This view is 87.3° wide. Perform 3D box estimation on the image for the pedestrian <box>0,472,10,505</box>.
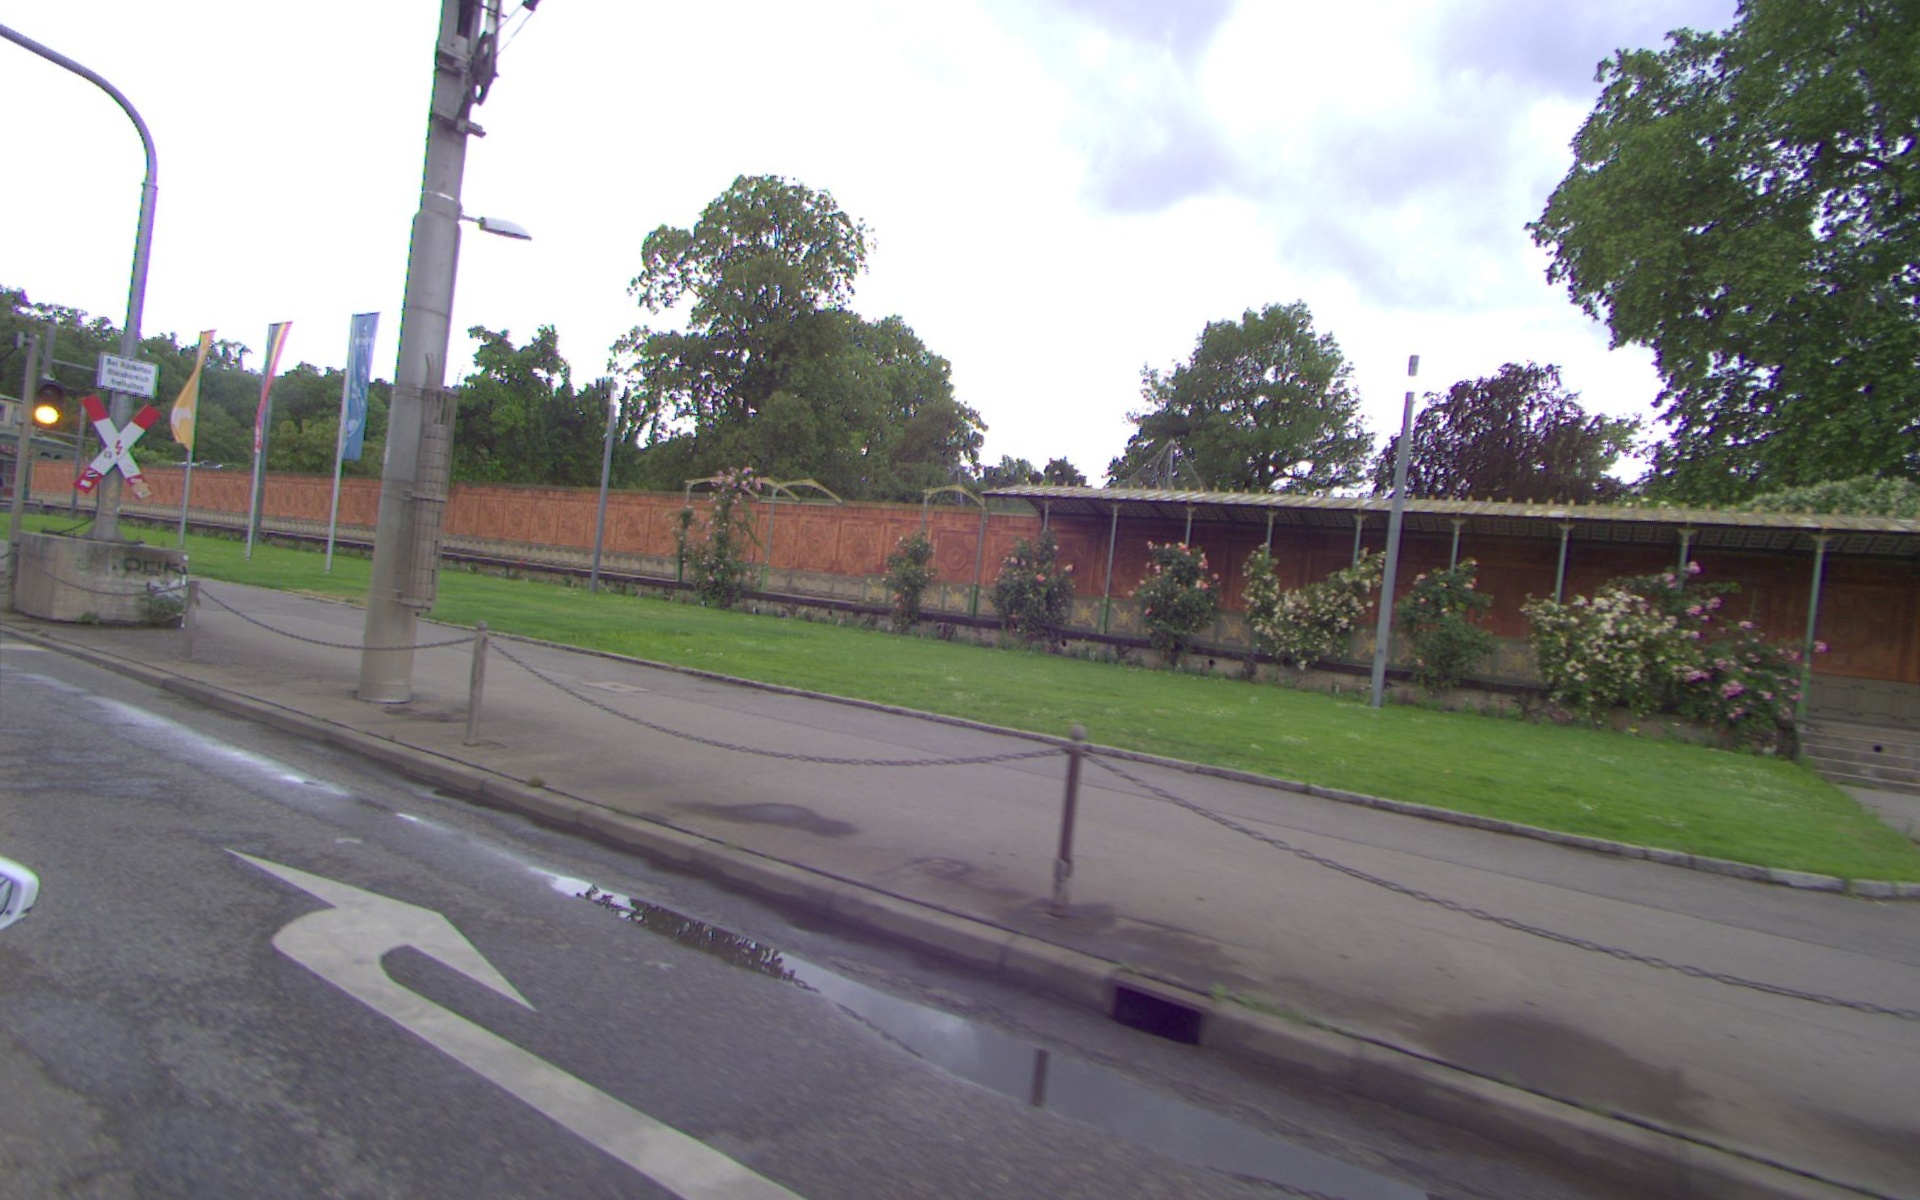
[{"bbox_3d":[-56.663,-6.601,59.123,0.542,1.859,0.949,6,-2,39],"label":"pedestrian"}]
